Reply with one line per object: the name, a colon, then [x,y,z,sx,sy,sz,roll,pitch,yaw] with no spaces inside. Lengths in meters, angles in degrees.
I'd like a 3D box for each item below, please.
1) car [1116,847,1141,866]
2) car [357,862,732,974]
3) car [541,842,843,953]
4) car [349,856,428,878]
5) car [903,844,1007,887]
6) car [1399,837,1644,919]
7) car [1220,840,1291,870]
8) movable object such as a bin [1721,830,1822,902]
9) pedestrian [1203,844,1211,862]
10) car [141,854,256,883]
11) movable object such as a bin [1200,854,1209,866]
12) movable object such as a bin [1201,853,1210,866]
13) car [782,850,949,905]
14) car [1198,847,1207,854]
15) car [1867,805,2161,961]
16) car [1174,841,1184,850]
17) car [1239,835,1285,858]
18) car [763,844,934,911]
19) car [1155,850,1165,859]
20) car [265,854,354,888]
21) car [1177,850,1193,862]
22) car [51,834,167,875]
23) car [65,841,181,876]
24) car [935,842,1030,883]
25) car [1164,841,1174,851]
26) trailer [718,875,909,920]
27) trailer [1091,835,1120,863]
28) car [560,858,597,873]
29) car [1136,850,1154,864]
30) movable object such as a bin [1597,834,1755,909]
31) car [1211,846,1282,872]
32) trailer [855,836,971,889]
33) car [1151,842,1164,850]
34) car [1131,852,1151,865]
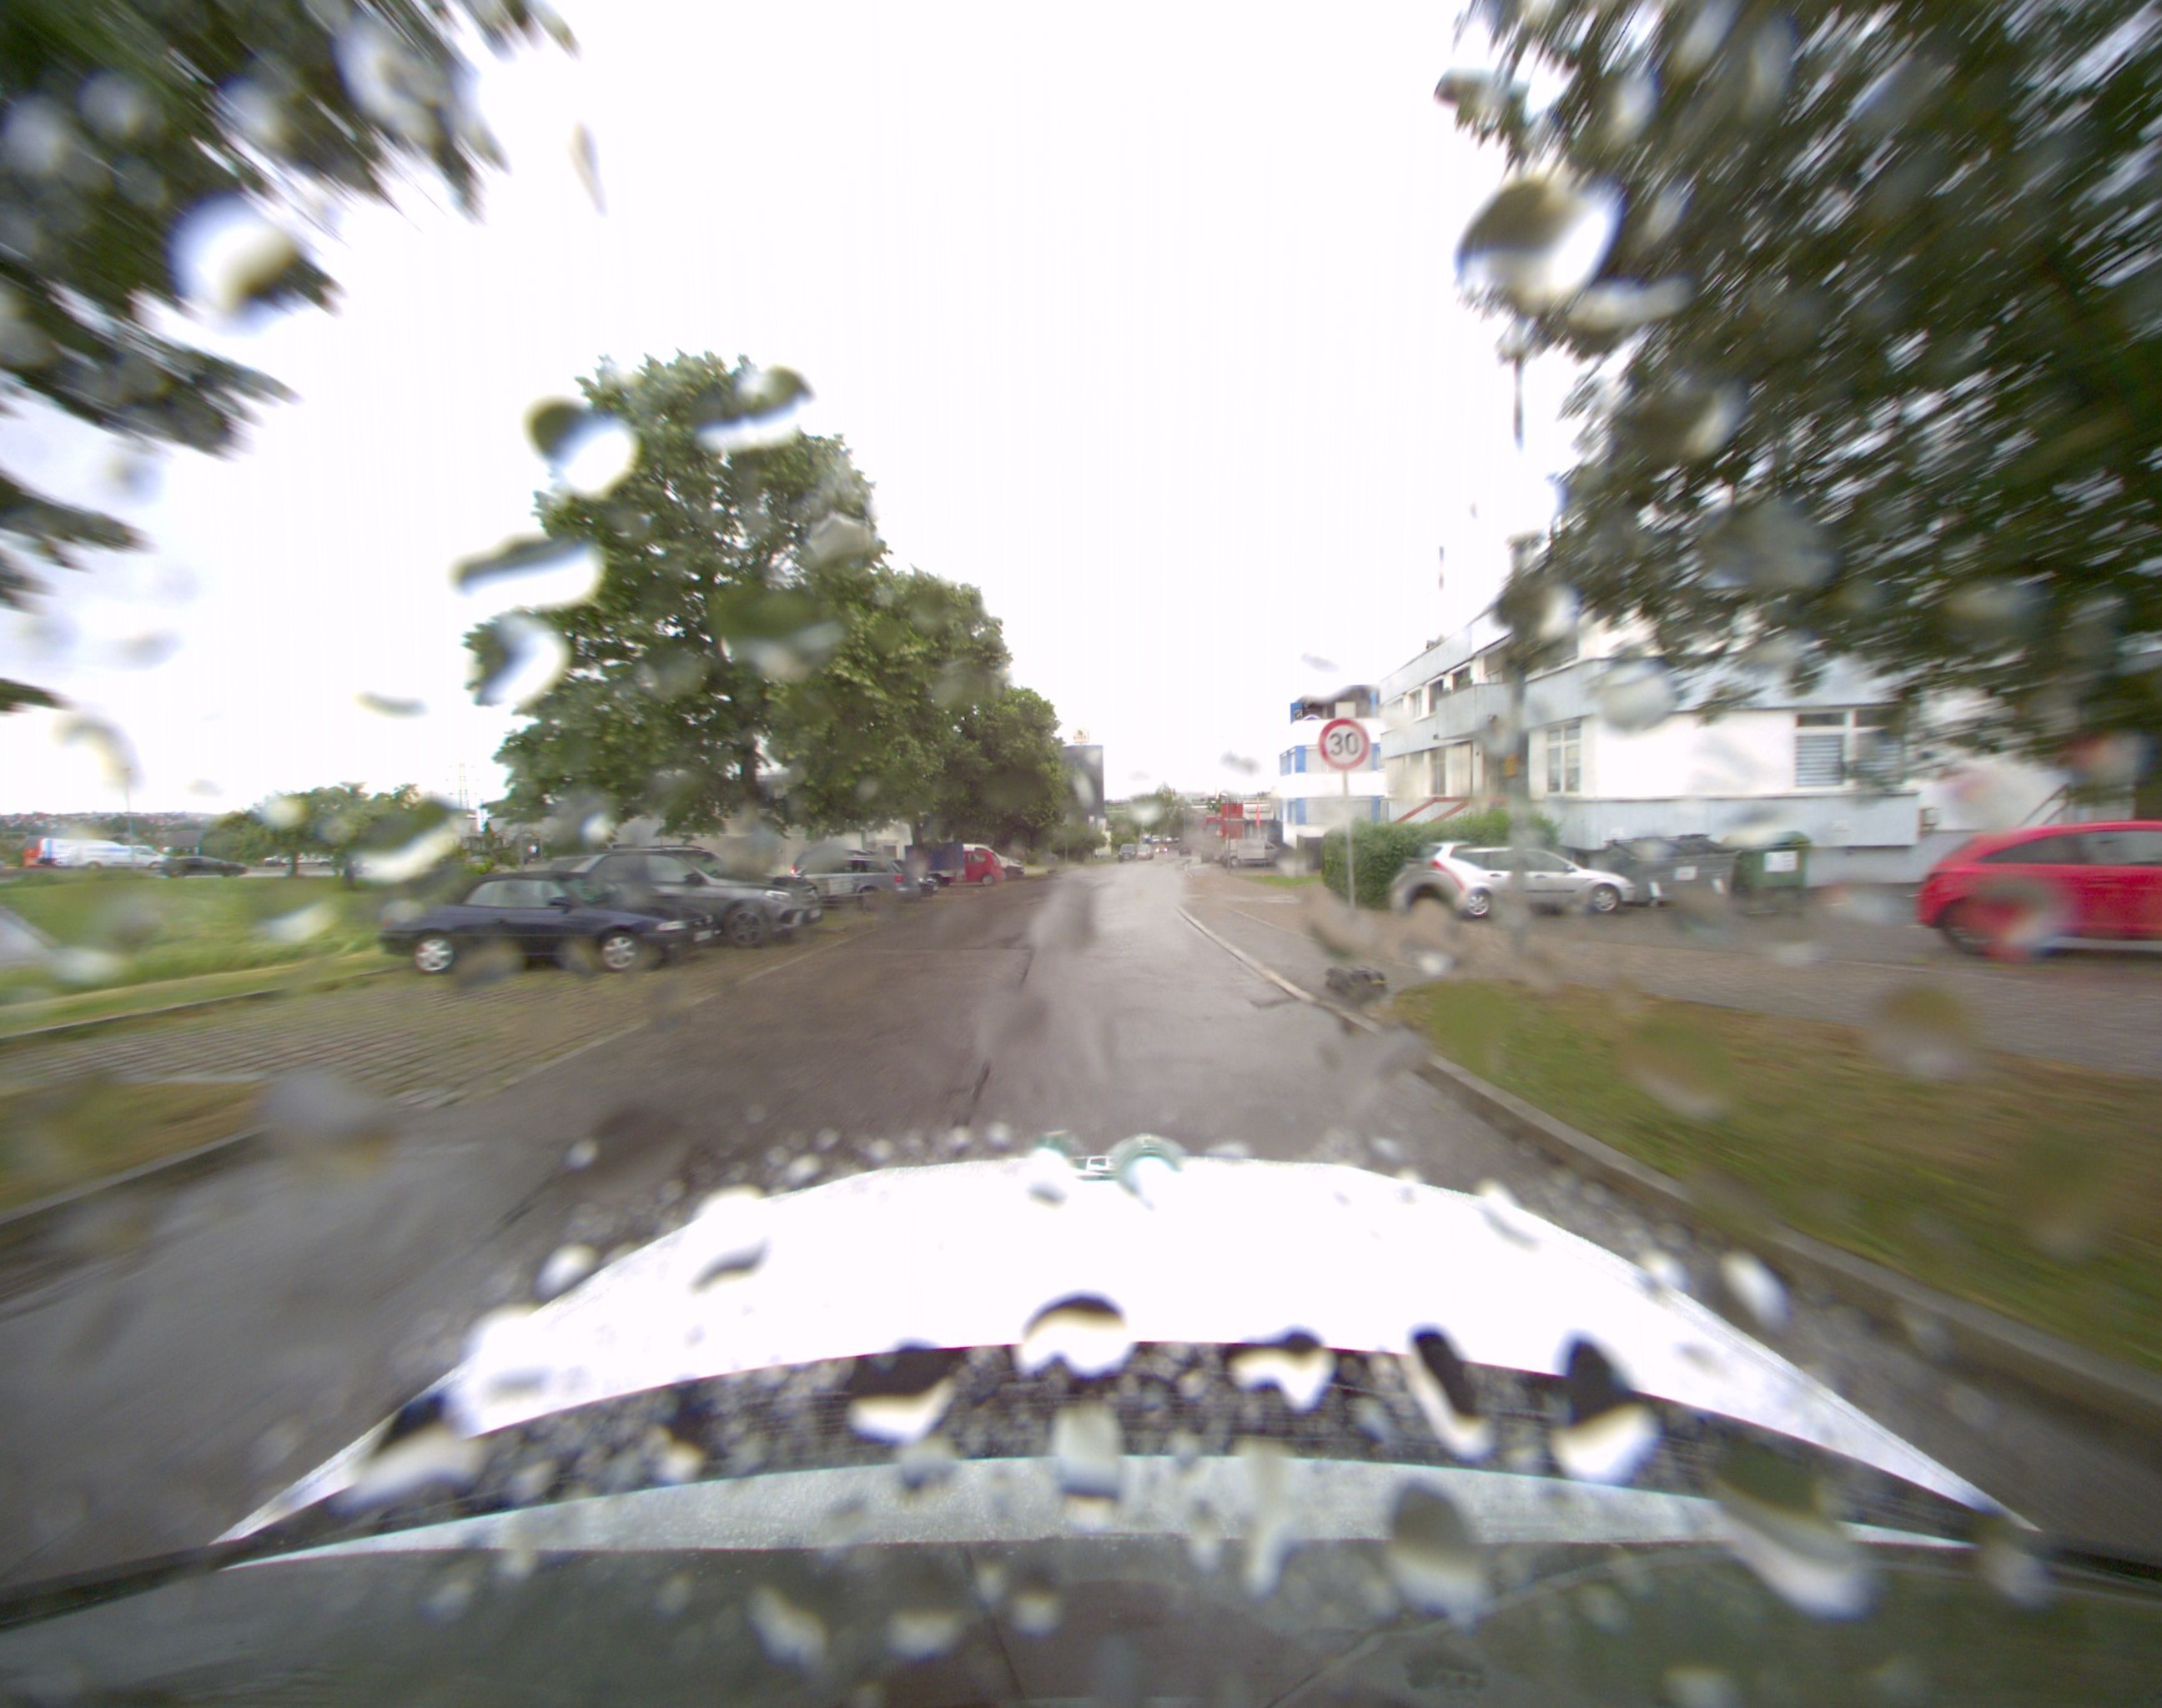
car: [4.838,0.266,82.546,1.904,1.831,4.861,-1,0,10]
car: [-7.593,0.863,11.869,4.202,1.431,1.772,-1,-1,-3]
car: [-6.766,0.733,14.533,4.351,1.722,2.045,-2,-1,1]
car: [-59.120,1.091,69.623,2.261,1.648,4.649,-3,0,33]
car: [-5.461,0.509,35.721,4.179,1.722,1.756,-2,-1,2]
car: [9.439,0.505,17.765,4.292,1.584,1.861,-2,-1,4]
car: [11.222,0.045,52.621,4.318,1.773,2.093,-2,0,6]
movable object such as a bin: [15.289,0.261,18.077,1.298,1.495,1.031,-3,0,8]
pedestrian: [12.724,-0.103,81.958,0.732,1.767,0.810,-1,0,10]
car: [-65.442,1.049,60.496,2.261,1.975,5.457,-3,-1,33]
movable object such as a bin: [10.611,0.486,69.820,0.767,1.030,0.810,-1,0,10]
movable object such as a bin: [10.772,0.490,70.541,0.739,1.066,0.638,-1,0,9]
car: [-6.583,0.688,25.136,4.595,1.590,1.809,1,0,5]
car: [25.811,-0.710,172.849,1.687,1.475,4.009,-2,-1,8]
car: [11.775,0.279,8.802,1.863,1.585,4.287,-1,-3,-27]
car: [25.123,-2.181,209.364,2.137,2.014,3.941,-2,-1,2]
car: [22.523,-0.888,101.705,5.269,2.013,2.227,-9,-2,8]
car: [-6.360,0.620,22.572,4.052,1.722,2.029,1,0,7]
car: [14.410,0.170,148.304,1.739,1.508,3.941,-4,-1,5]
car: [-86.781,1.897,91.738,2.511,3.425,6.774,-3,0,33]
car: [14.971,0.297,117.376,1.947,1.675,4.478,-2,-1,5]
car: [-85.221,0.053,71.549,1.974,3.429,6.341,-2,-1,33]
car: [-78.336,0.346,66.701,1.975,2.701,5.846,0,0,27]
car: [-4.895,0.417,40.756,4.272,1.906,1.867,-2,-1,11]
car: [22.598,-2.052,208.680,2.185,2.459,3.999,-2,-1,0]
trailer: [-6.423,1.044,19.892,3.924,0.961,2.002,0,1,3]
trailer: [3.705,-0.807,126.055,2.018,4.203,4.135,-2,0,-44]
car: [-56.259,1.258,91.145,3.948,1.618,2.013,-1,0,34]
car: [8.129,0.372,103.362,1.947,1.577,4.849,-2,-1,7]
movable object such as a bin: [13.187,0.370,18.189,2.254,1.503,1.737,-3,0,8]
car: [11.268,0.318,55.736,4.571,1.538,2.084,-3,0,8]
trailer: [-6.764,0.357,32.964,4.191,1.984,1.777,-2,-1,5]
car: [19.569,-2.033,208.642,2.263,2.014,3.990,-1,-1,-7]
car: [7.138,0.491,97.046,1.945,1.461,5.260,-2,0,8]
